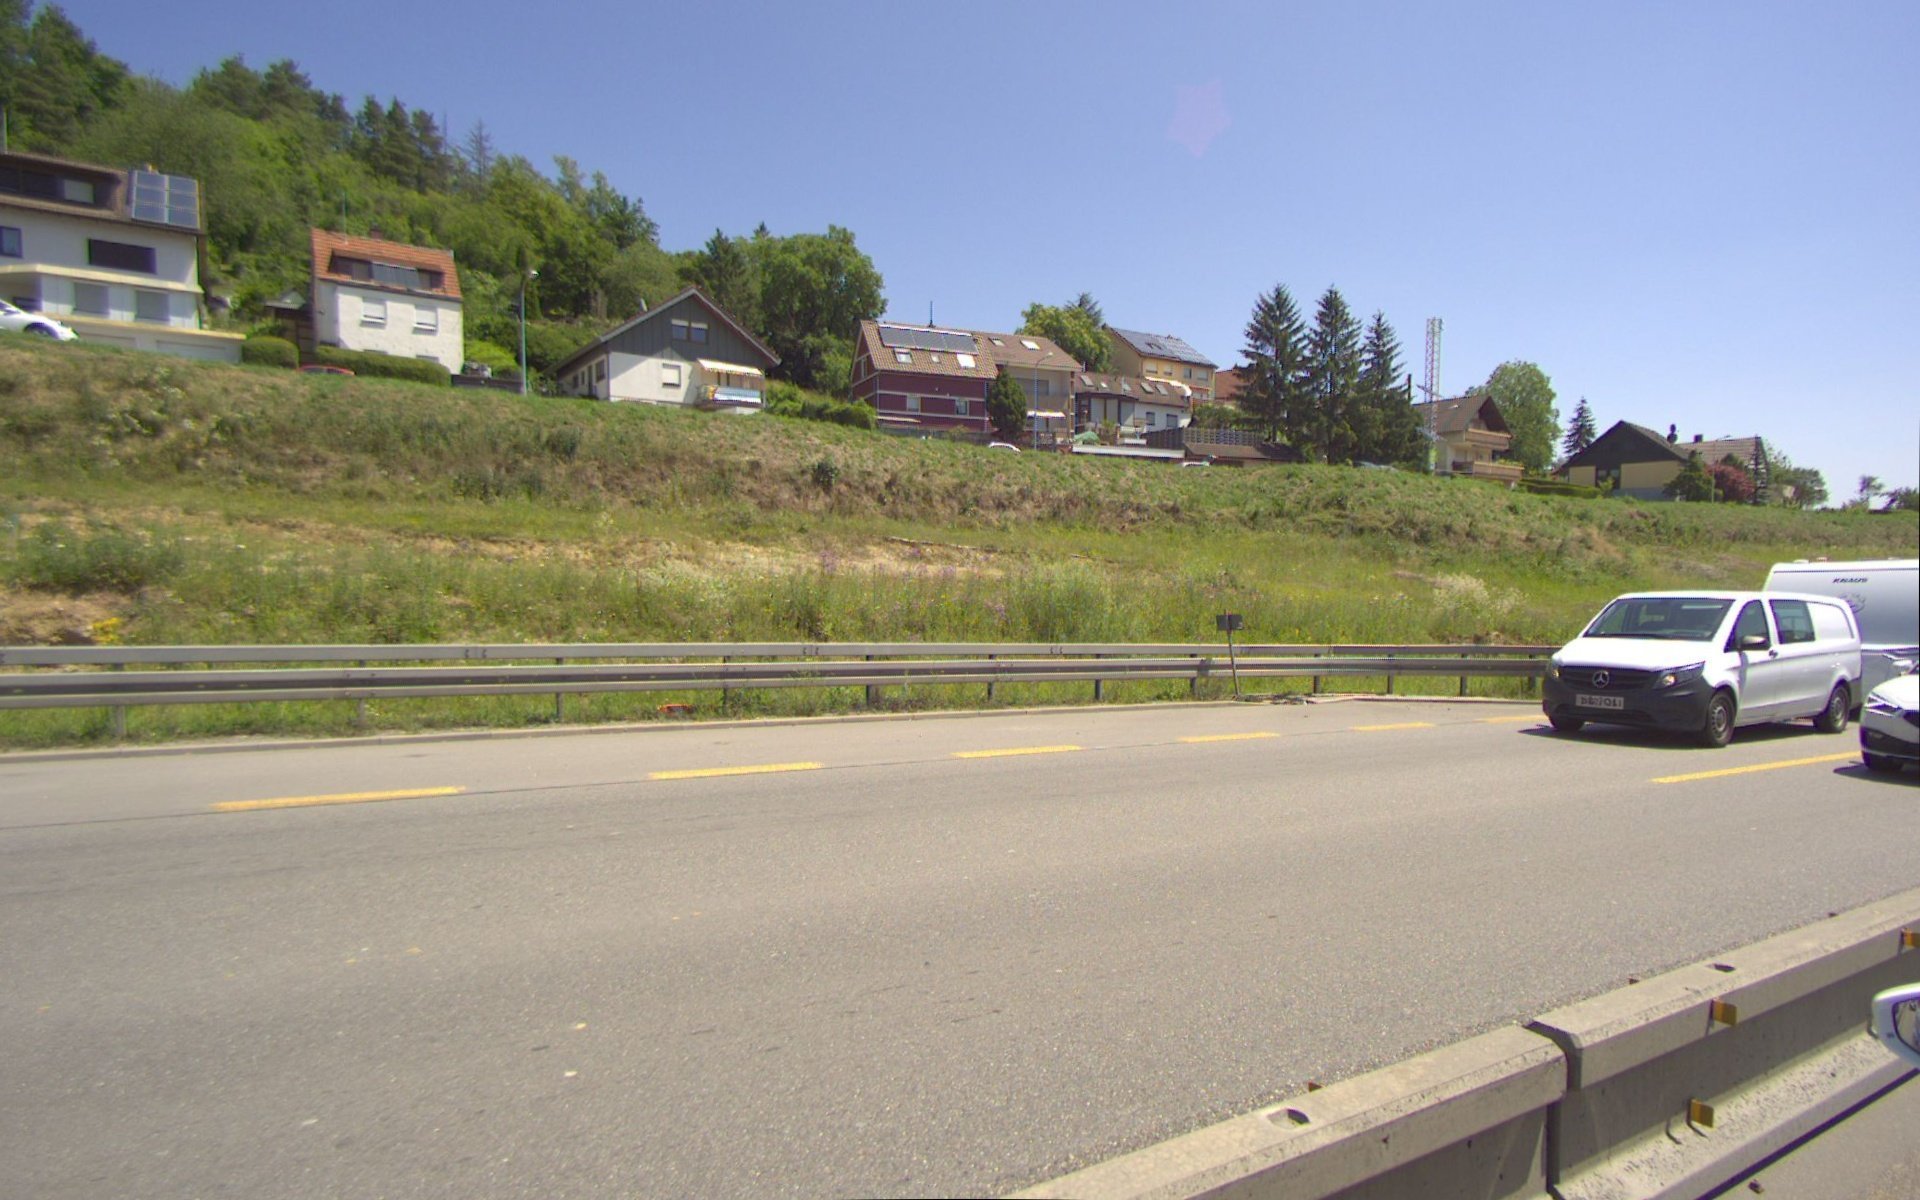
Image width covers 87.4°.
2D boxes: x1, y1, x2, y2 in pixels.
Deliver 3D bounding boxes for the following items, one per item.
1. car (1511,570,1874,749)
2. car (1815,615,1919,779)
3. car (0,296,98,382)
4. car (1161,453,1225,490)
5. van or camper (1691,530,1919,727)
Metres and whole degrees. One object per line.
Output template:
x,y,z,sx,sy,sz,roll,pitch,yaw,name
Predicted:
9.912,0.711,13.467,5.280,1.997,1.984,1,0,-30,car
10.902,0.946,10.288,4.583,1.500,1.903,1,0,-31,car
-32.248,-8.929,33.636,4.768,2.068,2.334,3,-1,-33,car
16.271,-8.935,70.065,3.946,2.040,1.988,3,-1,-25,car
15.521,0.460,16.867,7.766,2.712,2.345,1,0,-31,van or camper
